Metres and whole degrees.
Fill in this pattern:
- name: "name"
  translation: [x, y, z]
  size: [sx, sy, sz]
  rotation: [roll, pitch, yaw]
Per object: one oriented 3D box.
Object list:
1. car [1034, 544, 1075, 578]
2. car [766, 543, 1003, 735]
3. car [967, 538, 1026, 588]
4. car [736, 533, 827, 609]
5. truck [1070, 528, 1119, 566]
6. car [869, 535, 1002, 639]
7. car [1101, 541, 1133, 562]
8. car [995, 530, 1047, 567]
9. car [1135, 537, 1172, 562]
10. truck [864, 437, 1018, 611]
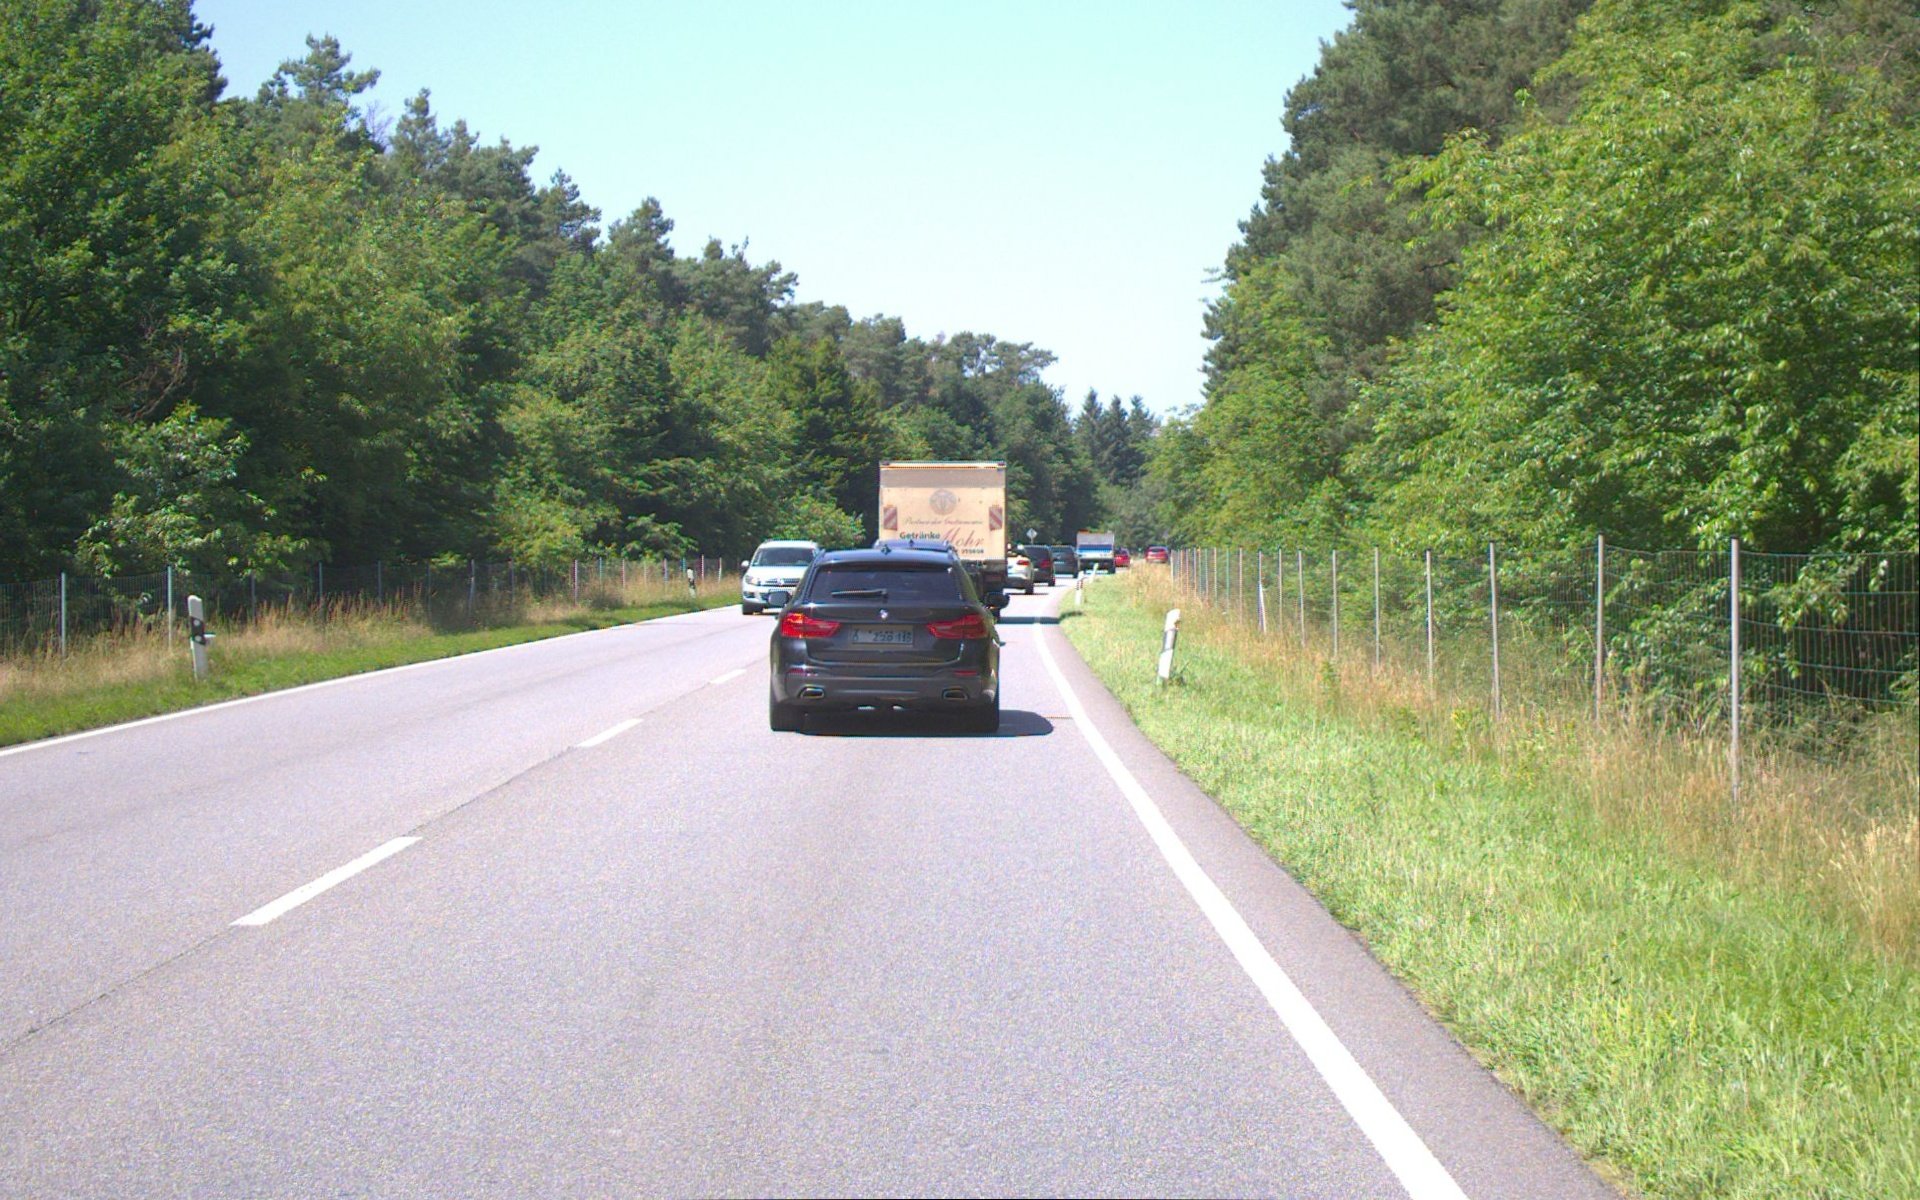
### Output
- name: "car"
  translation: [4.710, -1.938, 171.302]
  size: [1.993, 1.631, 4.000]
  rotation: [-1, 1, 2]
- name: "car"
  translation: [-0.615, 0.269, 28.572]
  size: [1.820, 1.465, 4.000]
  rotation: [0, 1, -1]
- name: "car"
  translation: [1.208, -1.224, 112.507]
  size: [1.863, 1.600, 4.000]
  rotation: [0, 1, 1]
- name: "car"
  translation: [-3.965, -0.676, 76.739]
  size: [1.863, 1.623, 4.093]
  rotation: [0, 1, -1]
- name: "truck"
  translation: [7.771, -3.064, 198.178]
  size: [2.564, 2.195, 4.973]
  rotation: [0, 1, 5]
- name: "car"
  translation: [-0.348, -0.228, 53.922]
  size: [1.947, 1.536, 4.000]
  rotation: [-1, 1, 1]
- name: "car"
  translation: [10.454, -3.219, 228.631]
  size: [1.795, 1.349, 3.927]
  rotation: [0, 1, 8]
- name: "car"
  translation: [2.421, -2.062, 136.446]
  size: [1.993, 1.415, 4.000]
  rotation: [-1, 1, 1]
- name: "car"
  translation: [14.742, -3.845, 261.450]
  size: [2.348, 1.878, 4.630]
  rotation: [0, 1, 9]
- name: "truck"
  translation: [-0.401, -1.556, 71.178]
  size: [2.965, 3.376, 6.438]
  rotation: [-1, 1, 0]
